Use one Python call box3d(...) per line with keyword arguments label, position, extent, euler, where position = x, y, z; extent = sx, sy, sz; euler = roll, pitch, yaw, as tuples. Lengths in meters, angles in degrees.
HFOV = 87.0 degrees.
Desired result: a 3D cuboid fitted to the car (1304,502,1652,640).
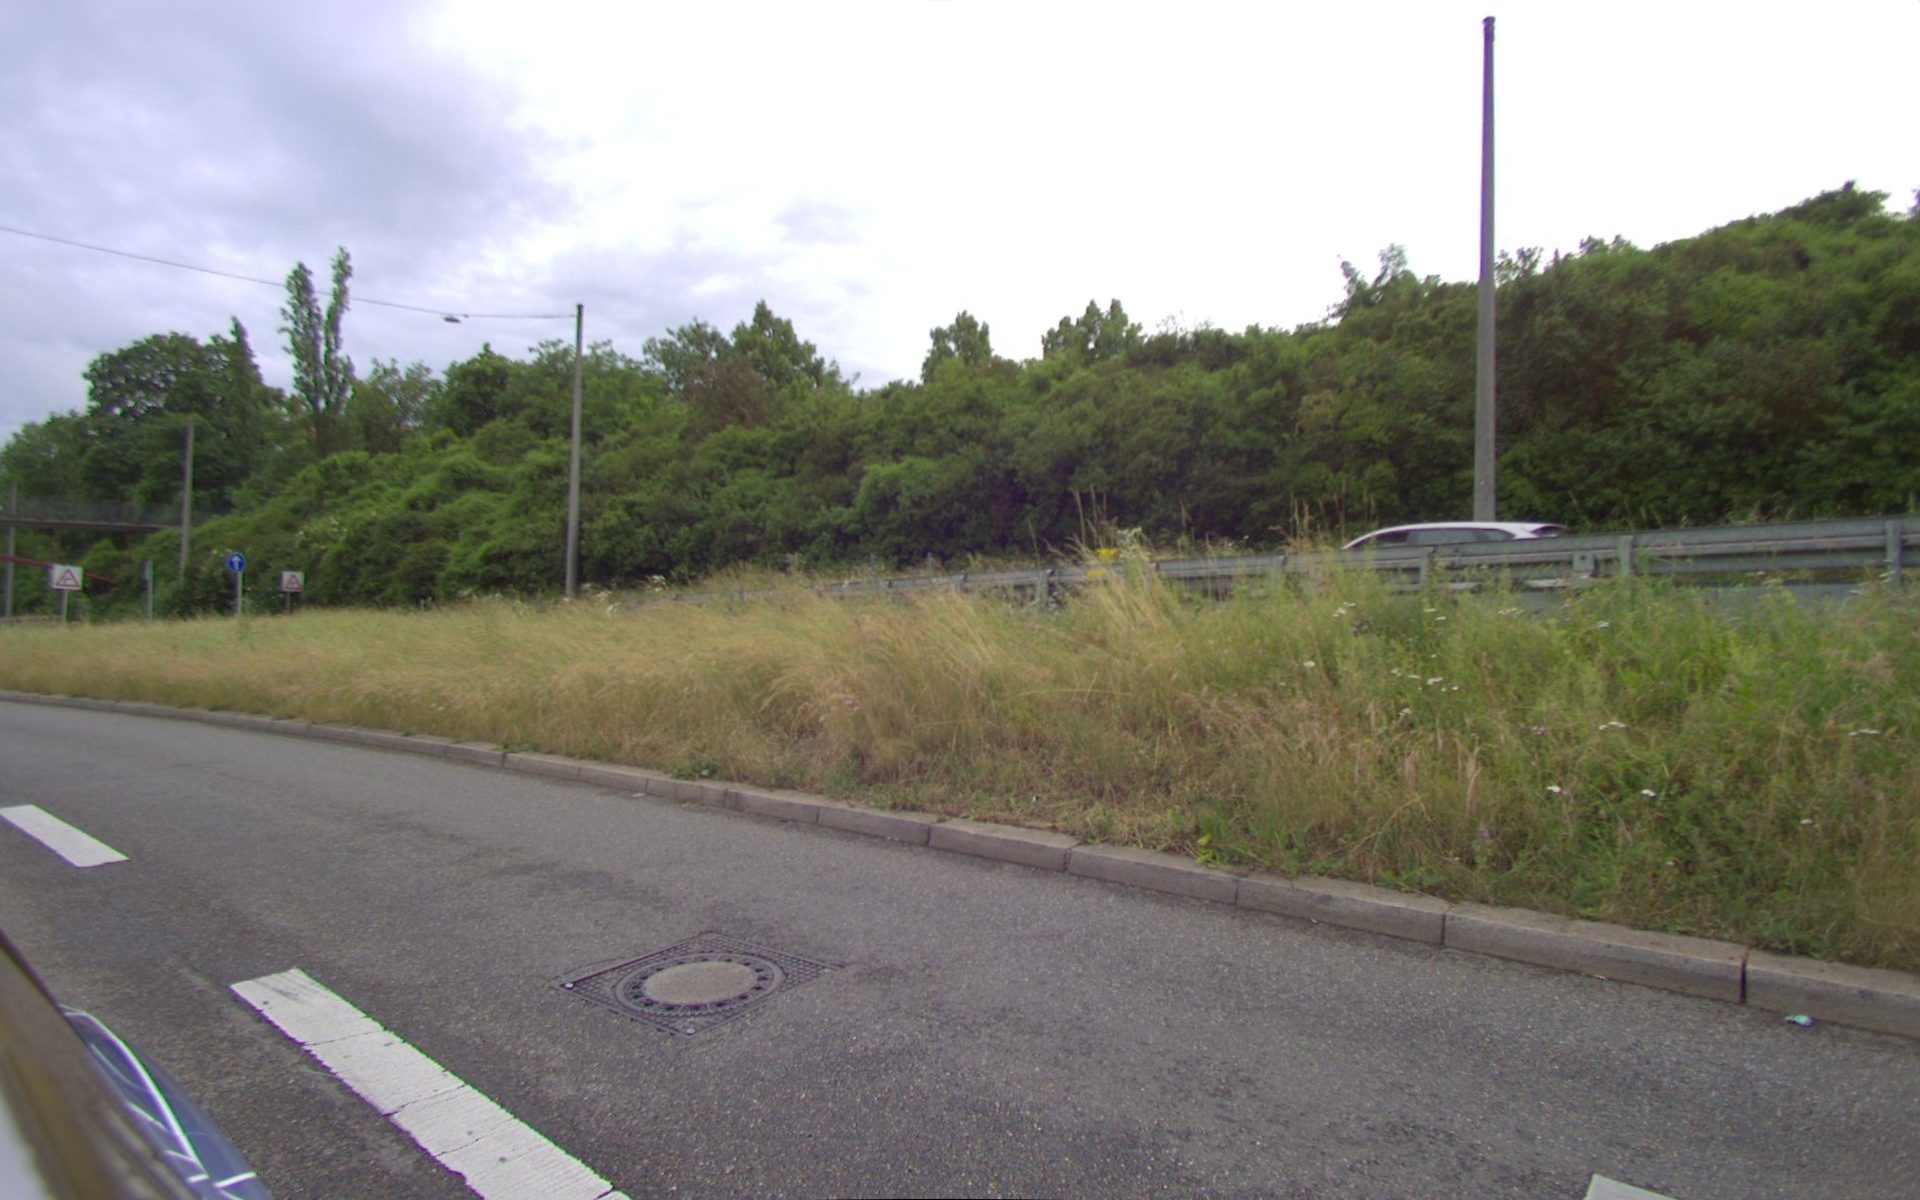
box3d(label="car", position=(6.597, -0.295, 13.076), extent=(3.676, 1.529, 1.717), euler=(-2, 0, 41))
